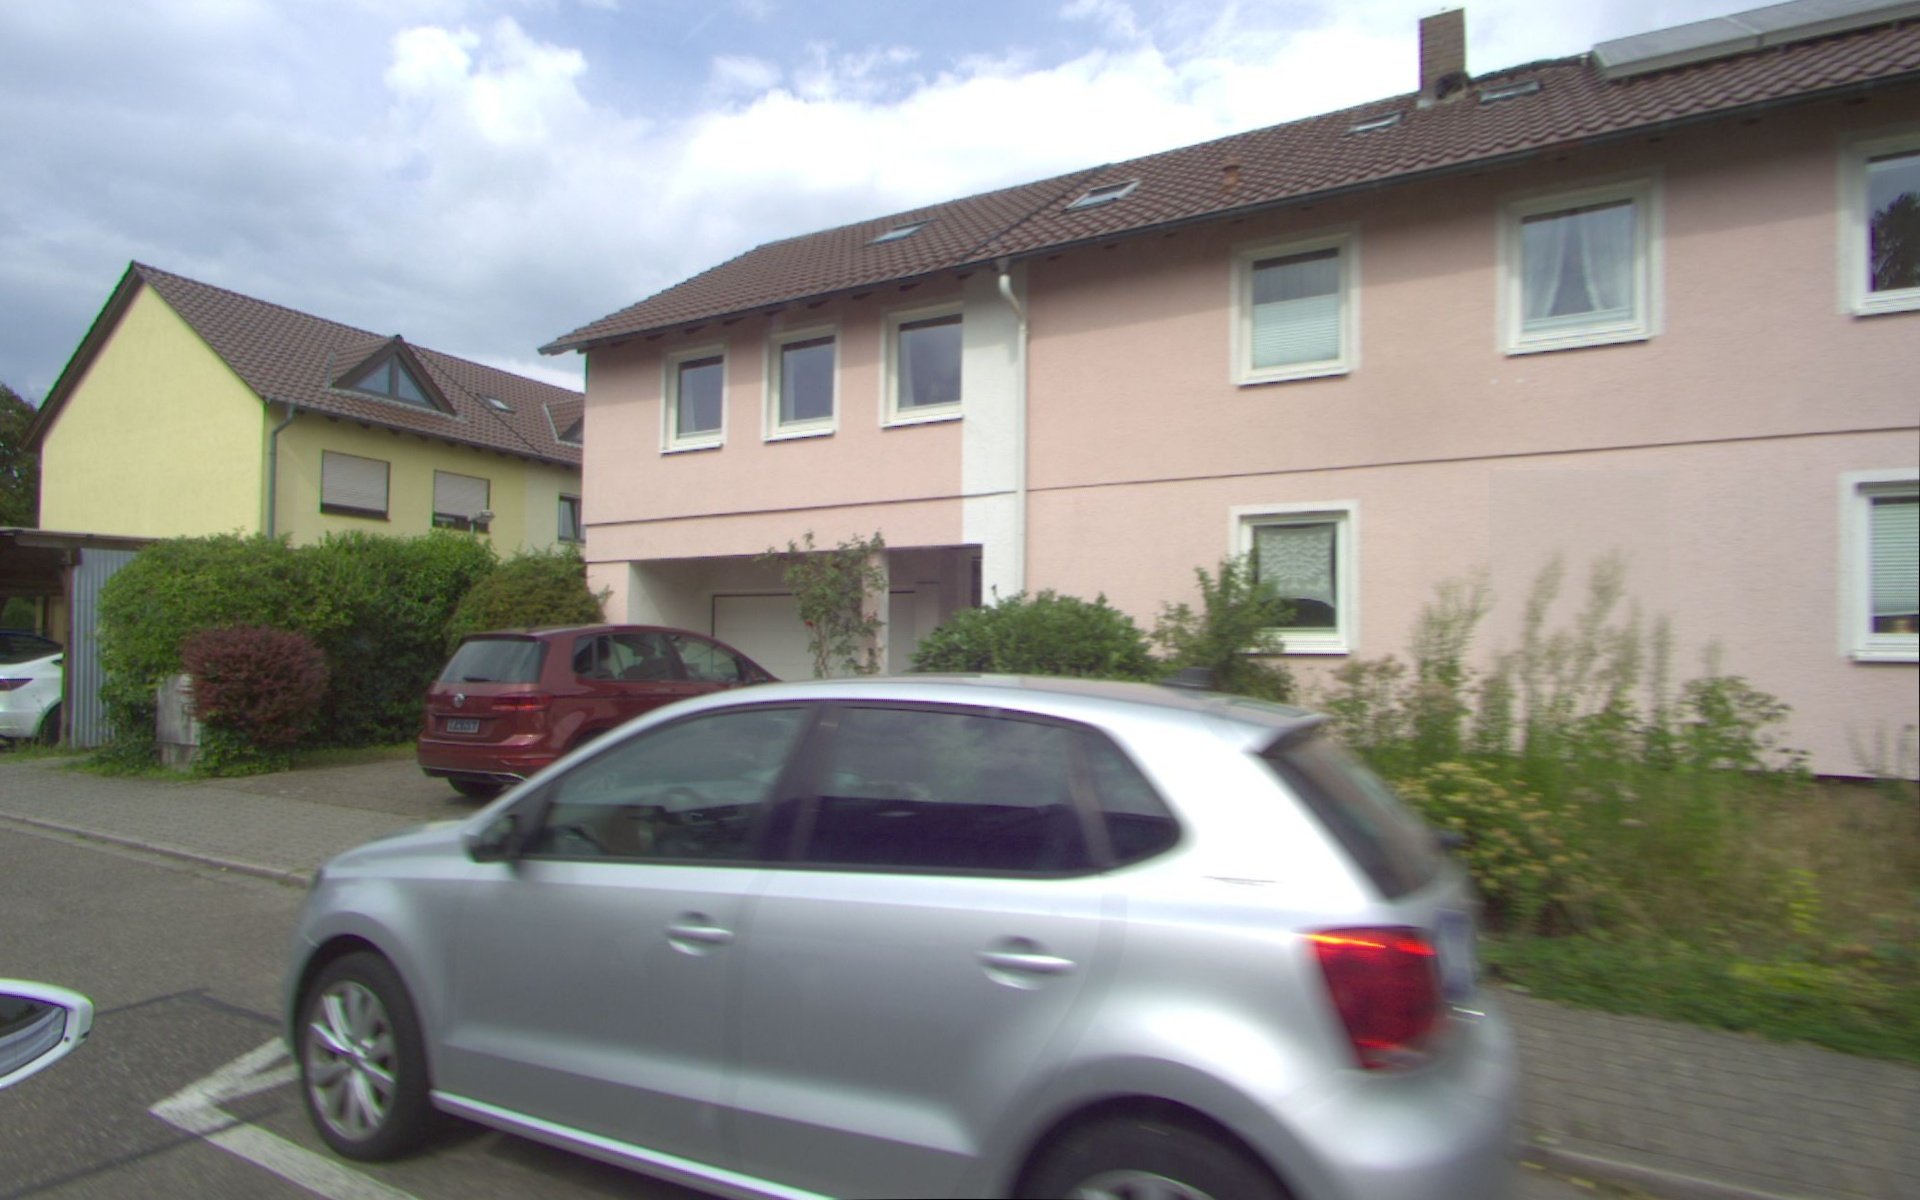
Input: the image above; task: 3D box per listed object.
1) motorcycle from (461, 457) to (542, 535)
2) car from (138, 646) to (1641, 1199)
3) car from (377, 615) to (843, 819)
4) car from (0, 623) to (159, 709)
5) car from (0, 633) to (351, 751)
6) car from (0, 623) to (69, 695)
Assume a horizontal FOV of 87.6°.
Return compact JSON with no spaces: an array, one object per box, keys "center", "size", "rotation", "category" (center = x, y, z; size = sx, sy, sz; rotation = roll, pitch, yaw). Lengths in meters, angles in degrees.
[{"center":[-7.937,-1.781,17.312],"size":[1.454,1.246,0.353],"rotation":[0,-2,23],"category":"motorcycle"},{"center":[-0.456,0.915,3.254],"size":[4.185,1.434,1.865],"rotation":[0,-3,27],"category":"car"},{"center":[-3.216,0.996,10.137],"size":[1.905,1.580,4.267],"rotation":[0,-2,29],"category":"car"},{"center":[-18.001,1.216,18.907],"size":[1.919,1.542,4.047],"rotation":[0,-2,26],"category":"car"},{"center":[-11.808,1.233,14.755],"size":[1.995,1.451,4.450],"rotation":[0,-2,27],"category":"car"},{"center":[-22.085,1.254,21.540],"size":[1.810,1.559,3.958],"rotation":[0,-2,26],"category":"car"}]
